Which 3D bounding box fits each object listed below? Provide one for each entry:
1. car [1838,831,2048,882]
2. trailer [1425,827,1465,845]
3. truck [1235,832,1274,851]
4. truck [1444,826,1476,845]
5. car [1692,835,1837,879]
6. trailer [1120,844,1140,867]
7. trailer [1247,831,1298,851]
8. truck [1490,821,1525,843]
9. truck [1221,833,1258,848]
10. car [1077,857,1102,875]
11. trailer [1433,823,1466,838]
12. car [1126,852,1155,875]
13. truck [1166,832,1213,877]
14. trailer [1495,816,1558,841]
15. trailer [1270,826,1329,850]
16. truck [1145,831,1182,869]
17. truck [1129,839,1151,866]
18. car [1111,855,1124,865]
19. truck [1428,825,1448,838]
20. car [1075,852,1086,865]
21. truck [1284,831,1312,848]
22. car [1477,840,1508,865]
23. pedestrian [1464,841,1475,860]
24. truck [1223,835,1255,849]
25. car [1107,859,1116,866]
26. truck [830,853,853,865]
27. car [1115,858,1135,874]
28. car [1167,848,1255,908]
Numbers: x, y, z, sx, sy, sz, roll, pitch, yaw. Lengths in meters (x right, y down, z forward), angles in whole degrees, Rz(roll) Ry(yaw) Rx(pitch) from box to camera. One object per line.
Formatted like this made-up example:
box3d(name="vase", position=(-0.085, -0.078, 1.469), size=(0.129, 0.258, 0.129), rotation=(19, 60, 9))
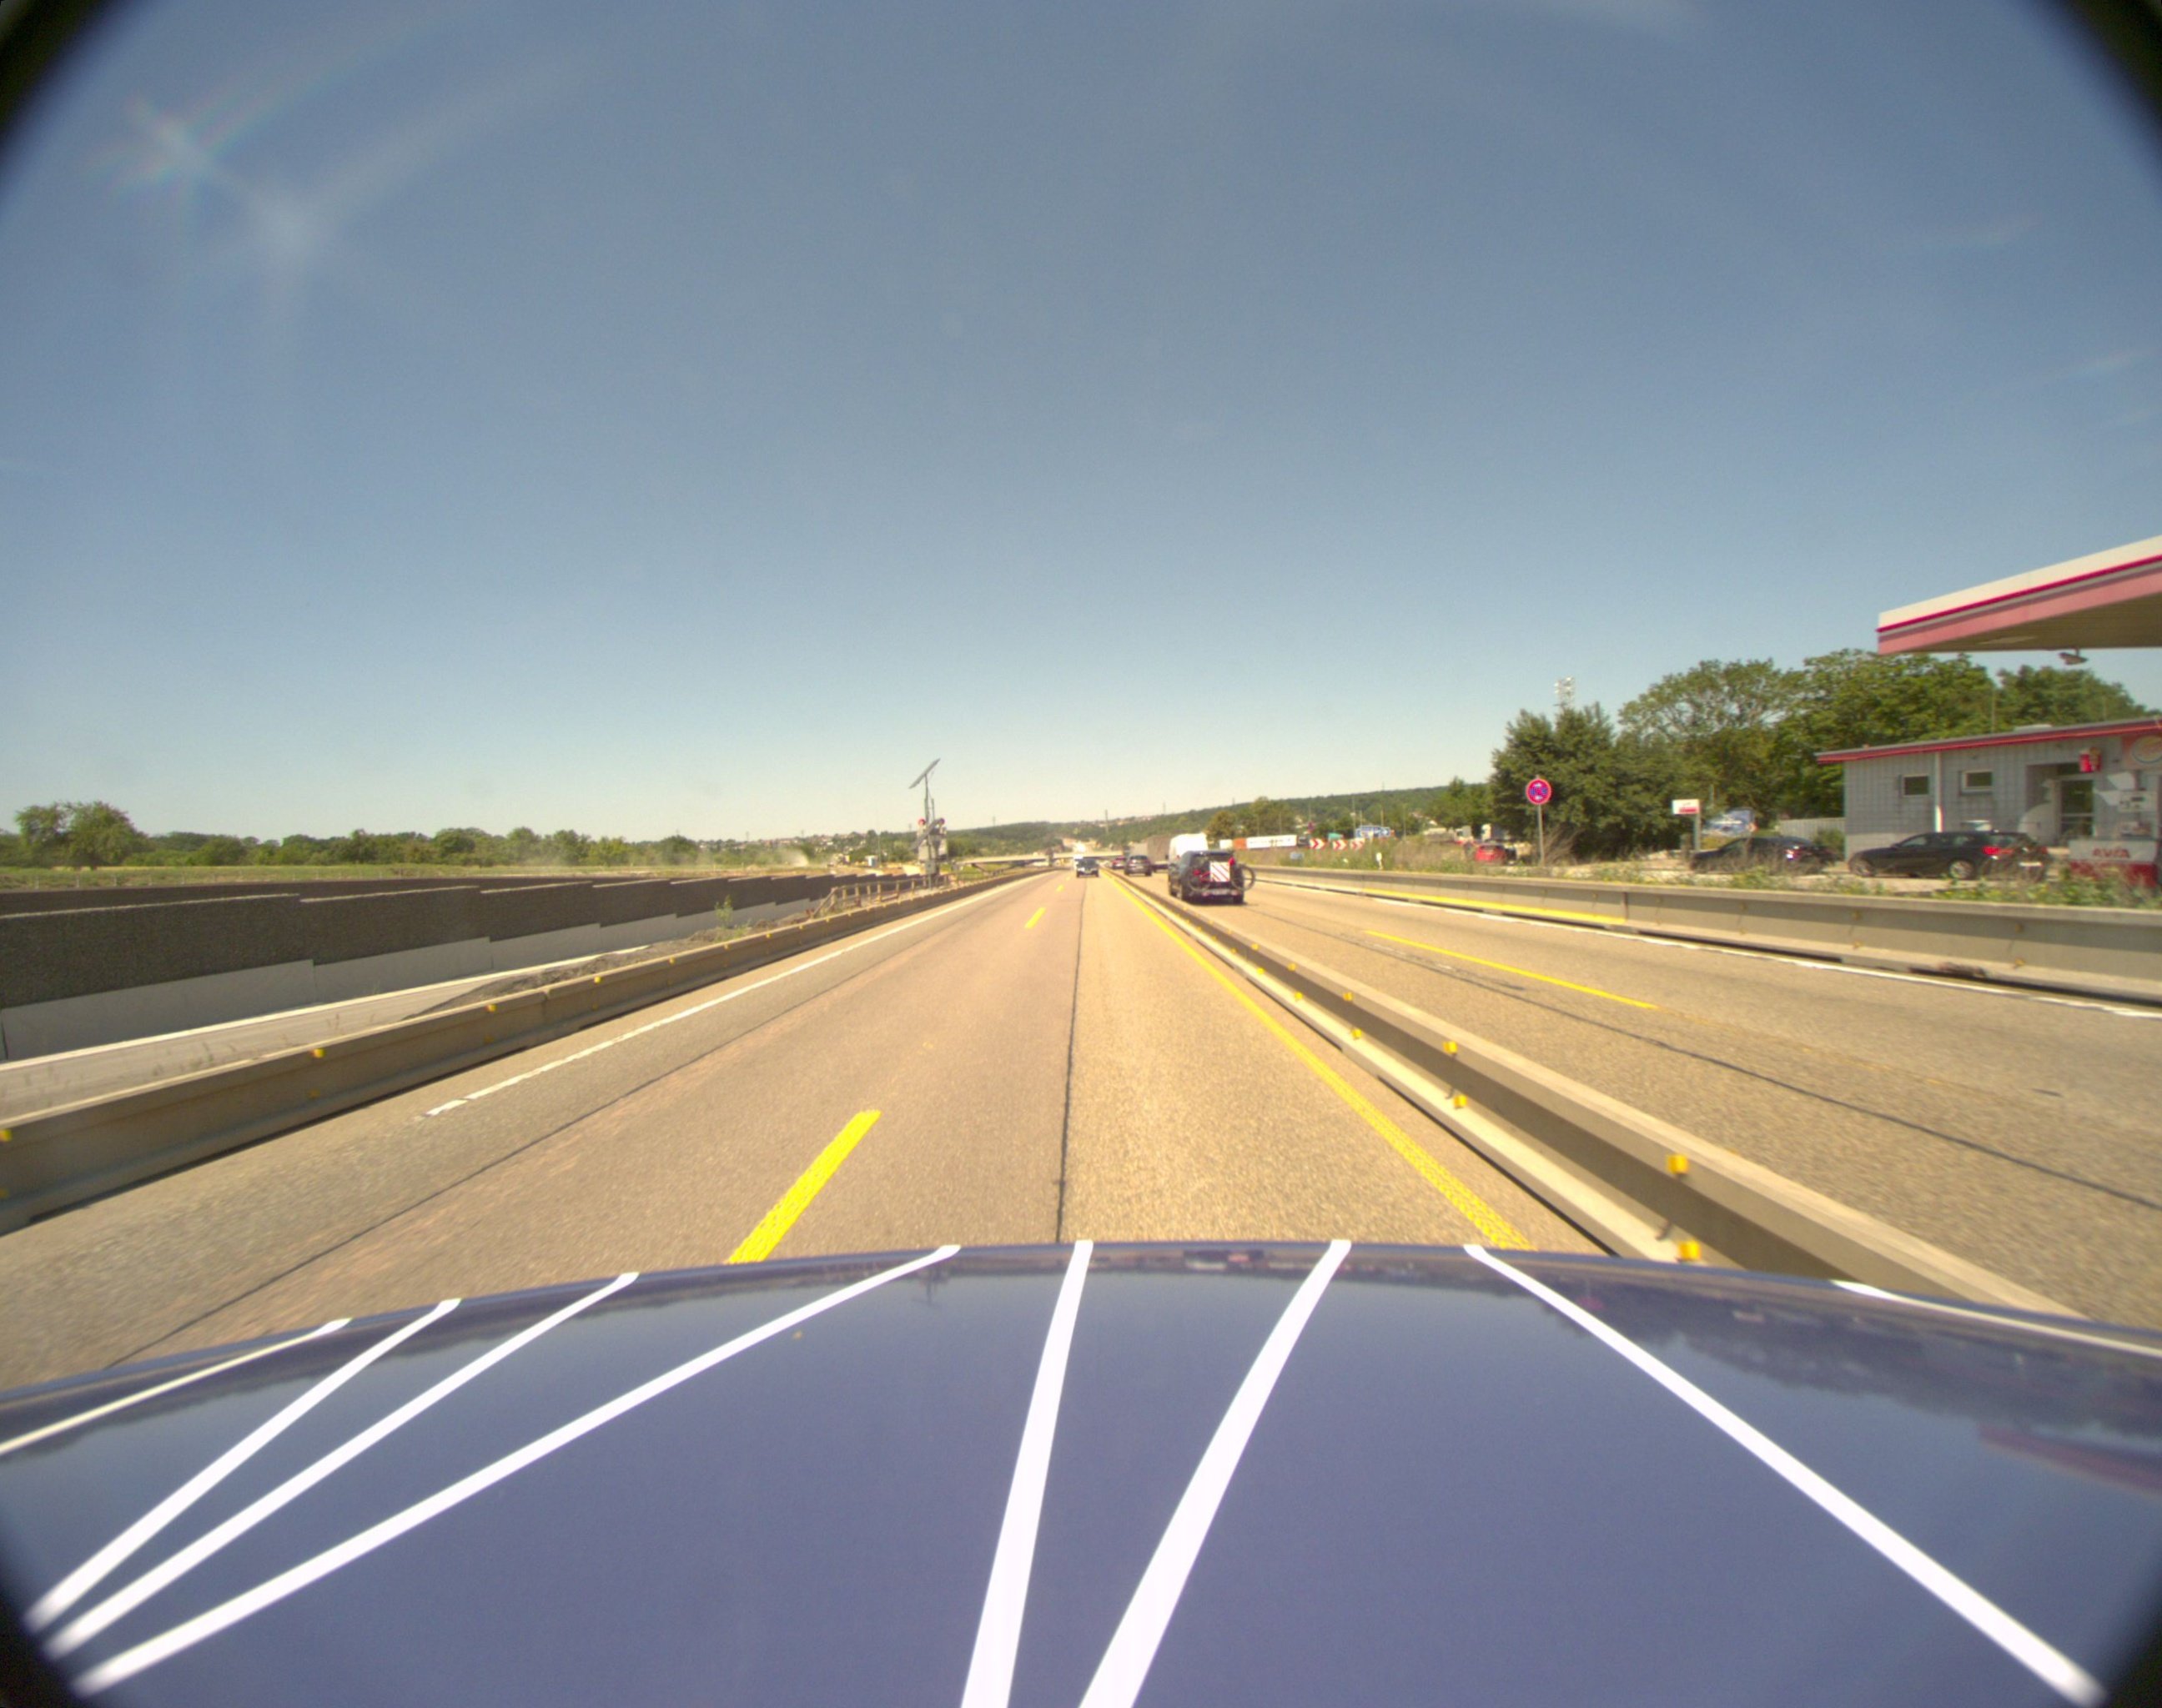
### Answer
box3d(name="car", position=(25.228, 0.082, 22.473), size=(1.649, 1.325, 4.000), rotation=(-1, 0, 0))
box3d(name="trailer", position=(63.401, -3.051, 132.584), size=(2.260, 2.751, 9.395), rotation=(-3, 0, -2))
box3d(name="truck", position=(48.334, -3.421, 212.504), size=(9.869, 4.195, 3.591), rotation=(-5, 0, 44))
box3d(name="truck", position=(63.517, -3.084, 127.448), size=(2.275, 2.751, 5.631), rotation=(-3, 0, -2))
box3d(name="car", position=(25.206, 0.143, 28.234), size=(1.649, 1.347, 4.001), rotation=(-6, -1, 0))
box3d(name="trailer", position=(9.395, 0.302, 146.979), size=(3.014, 4.173, 13.852), rotation=(-2, 0, 1))
box3d(name="trailer", position=(48.674, -3.242, 193.465), size=(2.625, 3.762, 12.721), rotation=(-5, 0, -45))
box3d(name="truck", position=(77.351, -4.001, 137.987), size=(2.872, 3.601, 5.960), rotation=(-3, 0, 1))
box3d(name="truck", position=(49.157, -4.189, 235.917), size=(11.491, 3.652, 2.535), rotation=(-6, 0, 44))
box3d(name="car", position=(0.667, 0.913, 57.886), size=(1.810, 1.299, 4.000), rotation=(-1, 0, 1))
box3d(name="trailer", position=(97.724, -6.209, 201.744), size=(2.952, 3.360, 11.705), rotation=(-2, 0, -1))
box3d(name="car", position=(4.433, 0.710, 57.067), size=(1.943, 1.601, 4.000), rotation=(-2, 0, 2))
box3d(name="truck", position=(7.315, 0.048, 52.047), size=(2.245, 2.770, 6.492), rotation=(-2, 0, 0))
box3d(name="trailer", position=(77.257, -4.388, 132.232), size=(3.029, 3.601, 13.434), rotation=(-3, 0, 1))
box3d(name="trailer", position=(48.267, -3.422, 168.451), size=(2.865, 4.142, 12.348), rotation=(-5, 0, -45))
box3d(name="truck", position=(7.448, -0.382, 69.575), size=(2.501, 3.273, 8.116), rotation=(-2, 0, 0))
box3d(name="truck", position=(7.745, -0.187, 100.699), size=(2.395, 3.365, 7.715), rotation=(-2, 0, 1))
box3d(name="car", position=(5.262, 0.850, 109.128), size=(1.686, 1.420, 4.202), rotation=(-2, 0, 1))
box3d(name="truck", position=(97.590, -6.172, 207.663), size=(2.901, 3.338, 4.907), rotation=(-3, 0, -1))
box3d(name="car", position=(-0.185, 1.232, 198.897), size=(2.544, 3.126, 7.548), rotation=(-3, 0, 1))
box3d(name="truck", position=(53.796, -3.612, 188.496), size=(5.724, 3.596, 2.585), rotation=(-5, 0, 41))
box3d(name="car", position=(26.437, -0.111, 48.754), size=(1.500, 1.324, 4.193), rotation=(-5, 0, 31))
box3d(name="pedestrian", position=(25.131, -0.221, 49.190), size=(0.474, 1.197, 0.586), rotation=(-2, 0, 15))
box3d(name="truck", position=(47.983, -3.659, 230.951), size=(9.135, 3.522, 2.696), rotation=(-5, 0, 44))
box3d(name="car", position=(6.514, 1.833, 163.737), size=(1.771, 1.465, 4.228), rotation=(-1, 0, 0))
box3d(name="truck", position=(-70.170, 1.458, 223.012), size=(3.154, 3.444, 8.759), rotation=(-3, 0, 5))
box3d(name="car", position=(4.733, 1.293, 82.161), size=(1.947, 1.649, 4.745), rotation=(-1, 0, 1))
box3d(name="car", position=(3.879, 0.684, 23.427), size=(1.860, 1.594, 4.735), rotation=(-2, 0, 0))
